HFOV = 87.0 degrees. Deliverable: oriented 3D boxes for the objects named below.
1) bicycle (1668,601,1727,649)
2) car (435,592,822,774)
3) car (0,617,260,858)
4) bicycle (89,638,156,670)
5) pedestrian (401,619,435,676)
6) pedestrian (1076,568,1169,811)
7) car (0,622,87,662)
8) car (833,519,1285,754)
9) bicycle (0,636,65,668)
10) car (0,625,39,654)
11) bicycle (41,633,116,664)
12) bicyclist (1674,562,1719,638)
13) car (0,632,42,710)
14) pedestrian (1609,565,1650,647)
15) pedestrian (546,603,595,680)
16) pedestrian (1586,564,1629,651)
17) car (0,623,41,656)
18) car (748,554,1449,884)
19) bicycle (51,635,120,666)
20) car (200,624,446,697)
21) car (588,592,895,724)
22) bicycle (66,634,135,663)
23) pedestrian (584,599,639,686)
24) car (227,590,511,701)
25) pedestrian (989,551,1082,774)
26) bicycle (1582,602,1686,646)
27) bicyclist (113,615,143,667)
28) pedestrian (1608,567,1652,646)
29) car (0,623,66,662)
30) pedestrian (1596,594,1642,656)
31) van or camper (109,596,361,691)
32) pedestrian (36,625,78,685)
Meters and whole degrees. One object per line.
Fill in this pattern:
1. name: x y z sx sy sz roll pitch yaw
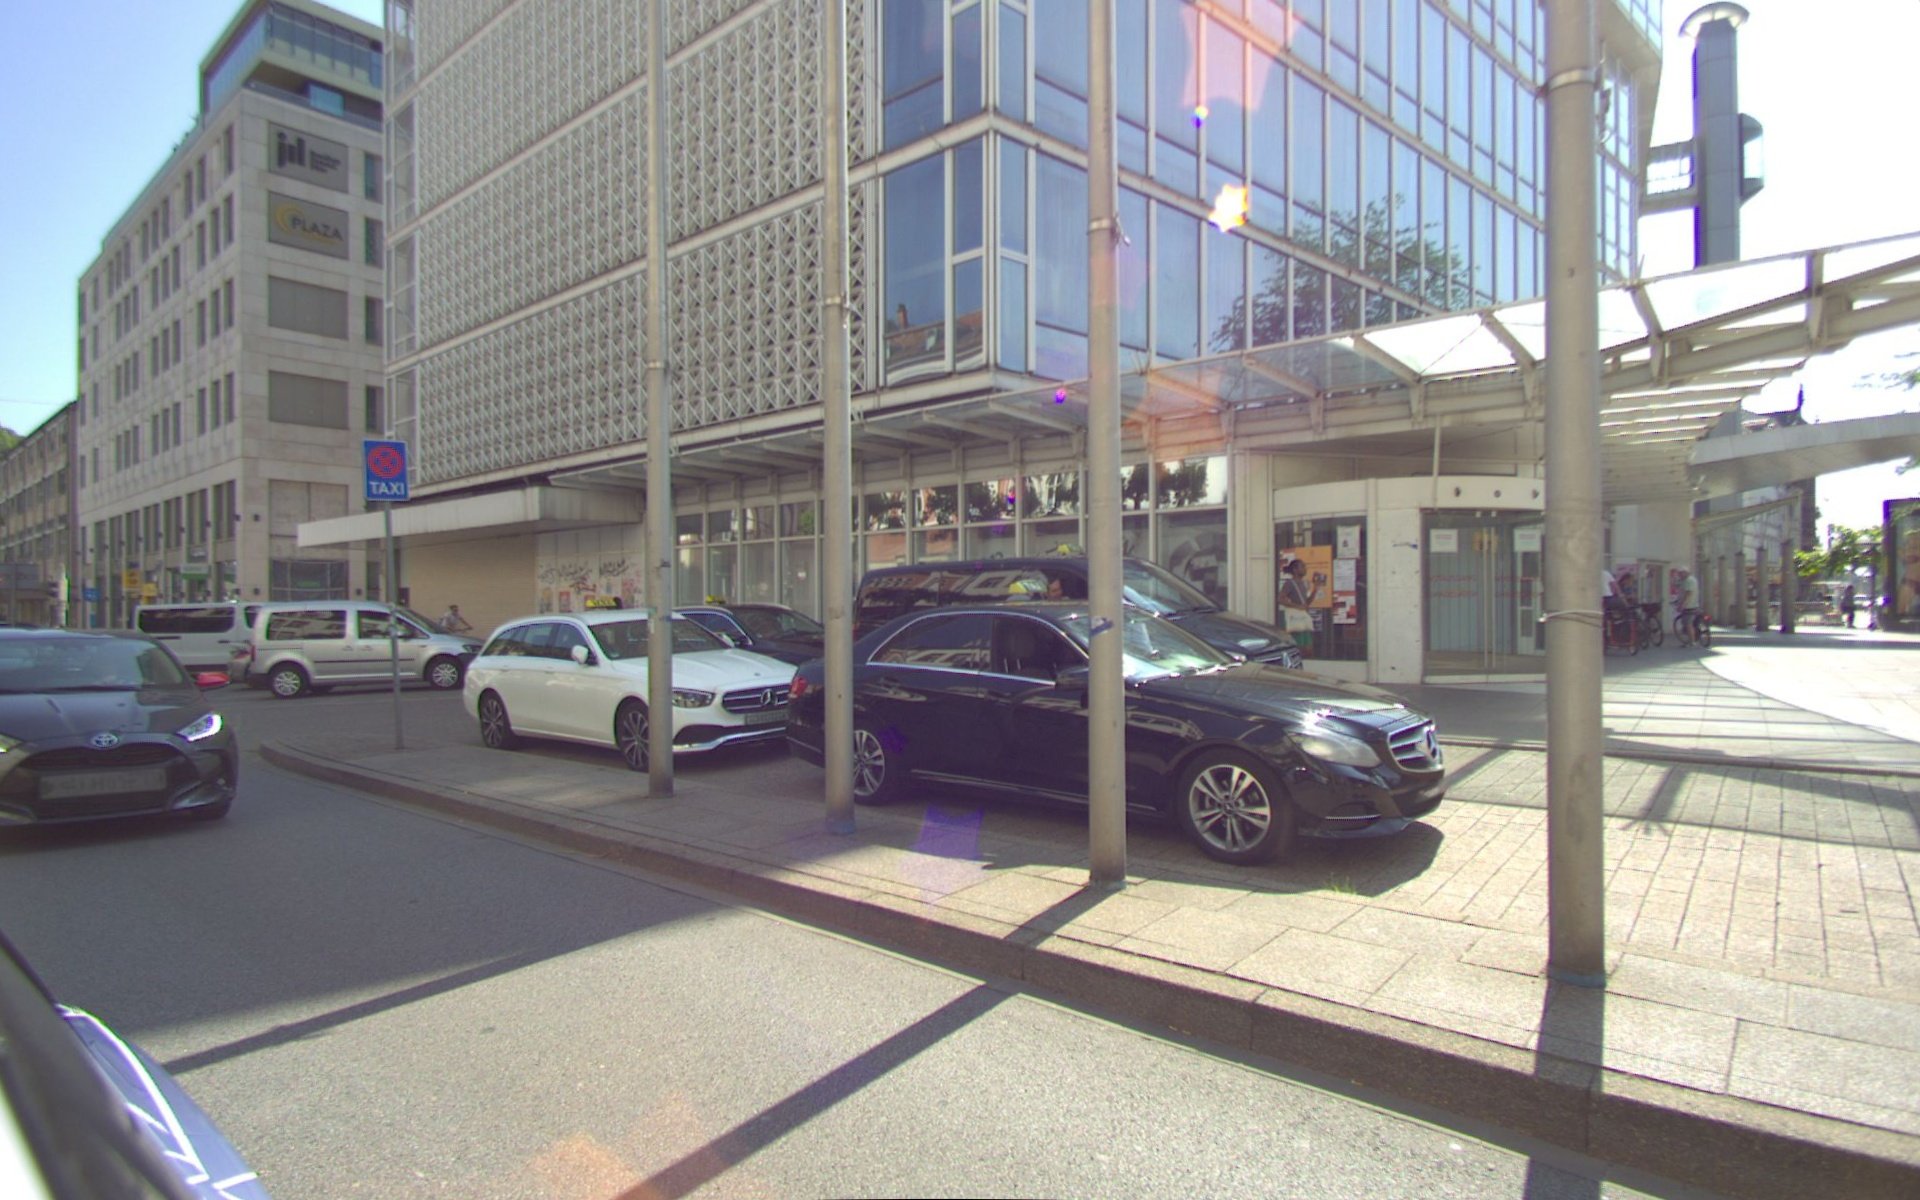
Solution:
1. bicycle: 16.220 0.521 22.231 2.398 0.973 0.652 -1 0 -45
2. car: -3.742 0.774 10.895 4.736 1.534 1.780 -2 -1 41
3. car: -7.167 0.942 7.991 4.106 1.489 1.843 -3 -4 43
4. bicycle: -32.305 2.072 39.044 1.963 1.135 0.800 0 -2 -42
5. pedestrian: -16.064 1.391 30.006 0.863 1.648 0.582 -2 0 40
6. pedestrian: 1.251 0.669 7.856 0.524 1.806 0.540 -1 -1 -10
7. car: -42.960 1.931 46.435 3.965 1.614 1.965 -2 2 -26
8. car: 0.875 0.363 10.954 4.683 2.029 1.813 -2 -1 41
9. bicycle: -36.080 2.009 39.277 2.033 1.182 0.606 -1 0 -4
10. car: -56.015 2.413 57.936 4.425 1.443 1.869 -6 3 -30
11. bicycle: -37.332 2.046 42.879 2.289 1.135 0.564 -3 1 -24
12. bicyclist: 16.142 -0.008 22.178 0.835 1.622 0.651 -1 -1 -44
13. car: -19.276 1.347 19.744 4.107 1.407 1.710 -1 -1 44
14. pedestrian: 14.736 0.130 22.271 0.651 1.778 0.768 -1 0 38
15. pedestrian: -7.595 0.788 19.736 0.640 1.447 0.587 0 2 39
16. pedestrian: 13.484 0.155 21.072 0.651 1.778 0.768 -1 0 38
17. car: -53.467 2.308 55.526 3.970 1.604 1.825 -5 3 -16
18. car: 0.676 0.632 7.148 4.706 1.612 1.743 -2 -1 40
19. bicycle: -34.700 2.001 40.171 2.030 1.178 0.607 0 -1 -12
20. car: -13.981 1.288 22.517 4.225 1.296 1.977 -2 0 -18
21. car: -3.259 0.755 14.754 4.392 1.623 1.975 -1 0 37
22. bicycle: -35.141 1.980 41.412 2.028 1.135 0.649 -1 -1 -23
23. pedestrian: -7.013 0.831 20.372 0.640 1.673 0.780 0 2 38
24. car: -11.313 0.845 19.724 4.372 1.924 2.014 -1 -1 -12
25. pedestrian: 0.629 0.511 8.633 0.610 1.806 0.694 -1 -1 -10
26. bicycle: 15.444 0.556 23.259 1.931 0.973 0.568 -1 0 31
27. bicyclist: -32.211 1.569 39.196 0.832 1.975 1.018 0 -1 -43
28. pedestrian: 15.397 0.159 23.287 0.775 1.778 0.562 -1 0 31
29. car: -45.676 2.102 48.496 4.107 1.649 2.105 -5 2 -41
30. pedestrian: 12.745 0.471 19.574 0.651 1.155 0.768 -1 0 38
31. van or camper: -17.646 1.026 24.857 4.585 2.029 2.004 -2 0 -10
32. pedestrian: -24.312 1.472 27.251 0.678 1.571 0.635 -2 0 29
